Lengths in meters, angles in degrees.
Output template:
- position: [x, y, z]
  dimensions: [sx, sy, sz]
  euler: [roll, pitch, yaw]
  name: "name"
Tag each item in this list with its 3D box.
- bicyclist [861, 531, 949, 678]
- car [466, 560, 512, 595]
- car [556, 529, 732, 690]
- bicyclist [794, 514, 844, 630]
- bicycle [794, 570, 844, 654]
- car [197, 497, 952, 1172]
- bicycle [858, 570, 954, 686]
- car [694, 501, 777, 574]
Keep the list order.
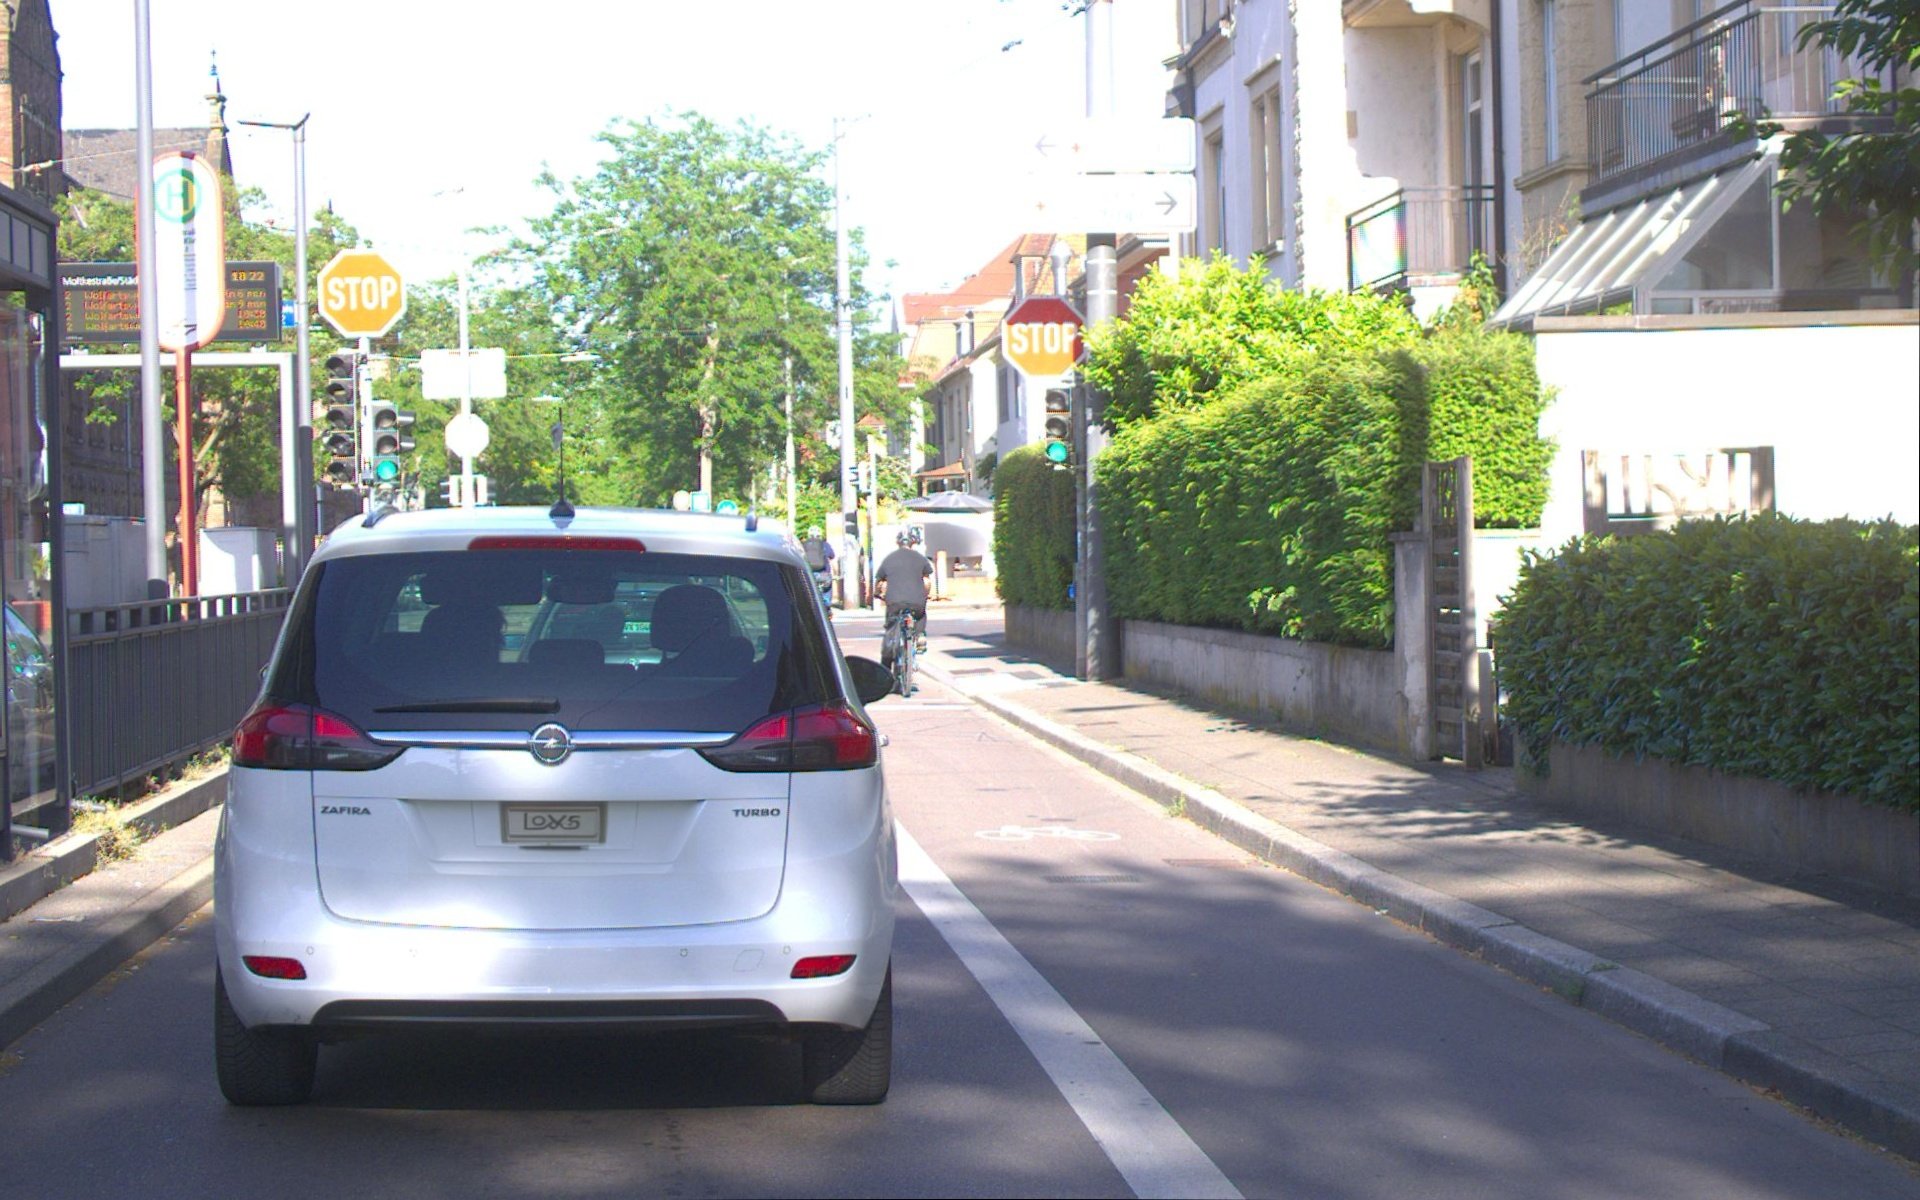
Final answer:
- position: [-0.573, 0.041, 35.450]
  dimensions: [0.821, 1.496, 0.934]
  euler: [-1, 0, -5]
  name: "bicyclist"
- position: [-19.834, -0.971, 144.960]
  dimensions: [1.581, 1.436, 3.585]
  euler: [-1, 1, -2]
  name: "car"
- position: [-3.378, 0.079, 37.016]
  dimensions: [1.775, 1.626, 3.881]
  euler: [-1, 1, -4]
  name: "car"
- position: [-1.998, -0.399, 48.726]
  dimensions: [0.685, 1.629, 1.015]
  euler: [-1, 0, -2]
  name: "bicyclist"
- position: [-1.997, 0.160, 48.836]
  dimensions: [0.685, 1.153, 1.619]
  euler: [-1, 1, -2]
  name: "bicycle"
- position: [-1.078, 0.553, 10.423]
  dimensions: [1.834, 1.636, 3.919]
  euler: [-1, 1, -4]
  name: "car"
- position: [-0.573, 0.274, 35.450]
  dimensions: [0.829, 1.150, 2.095]
  euler: [-1, 1, -5]
  name: "bicycle"
- position: [-5.173, -1.436, 79.629]
  dimensions: [1.776, 1.626, 3.881]
  euler: [-1, 1, -2]
  name: "car"
